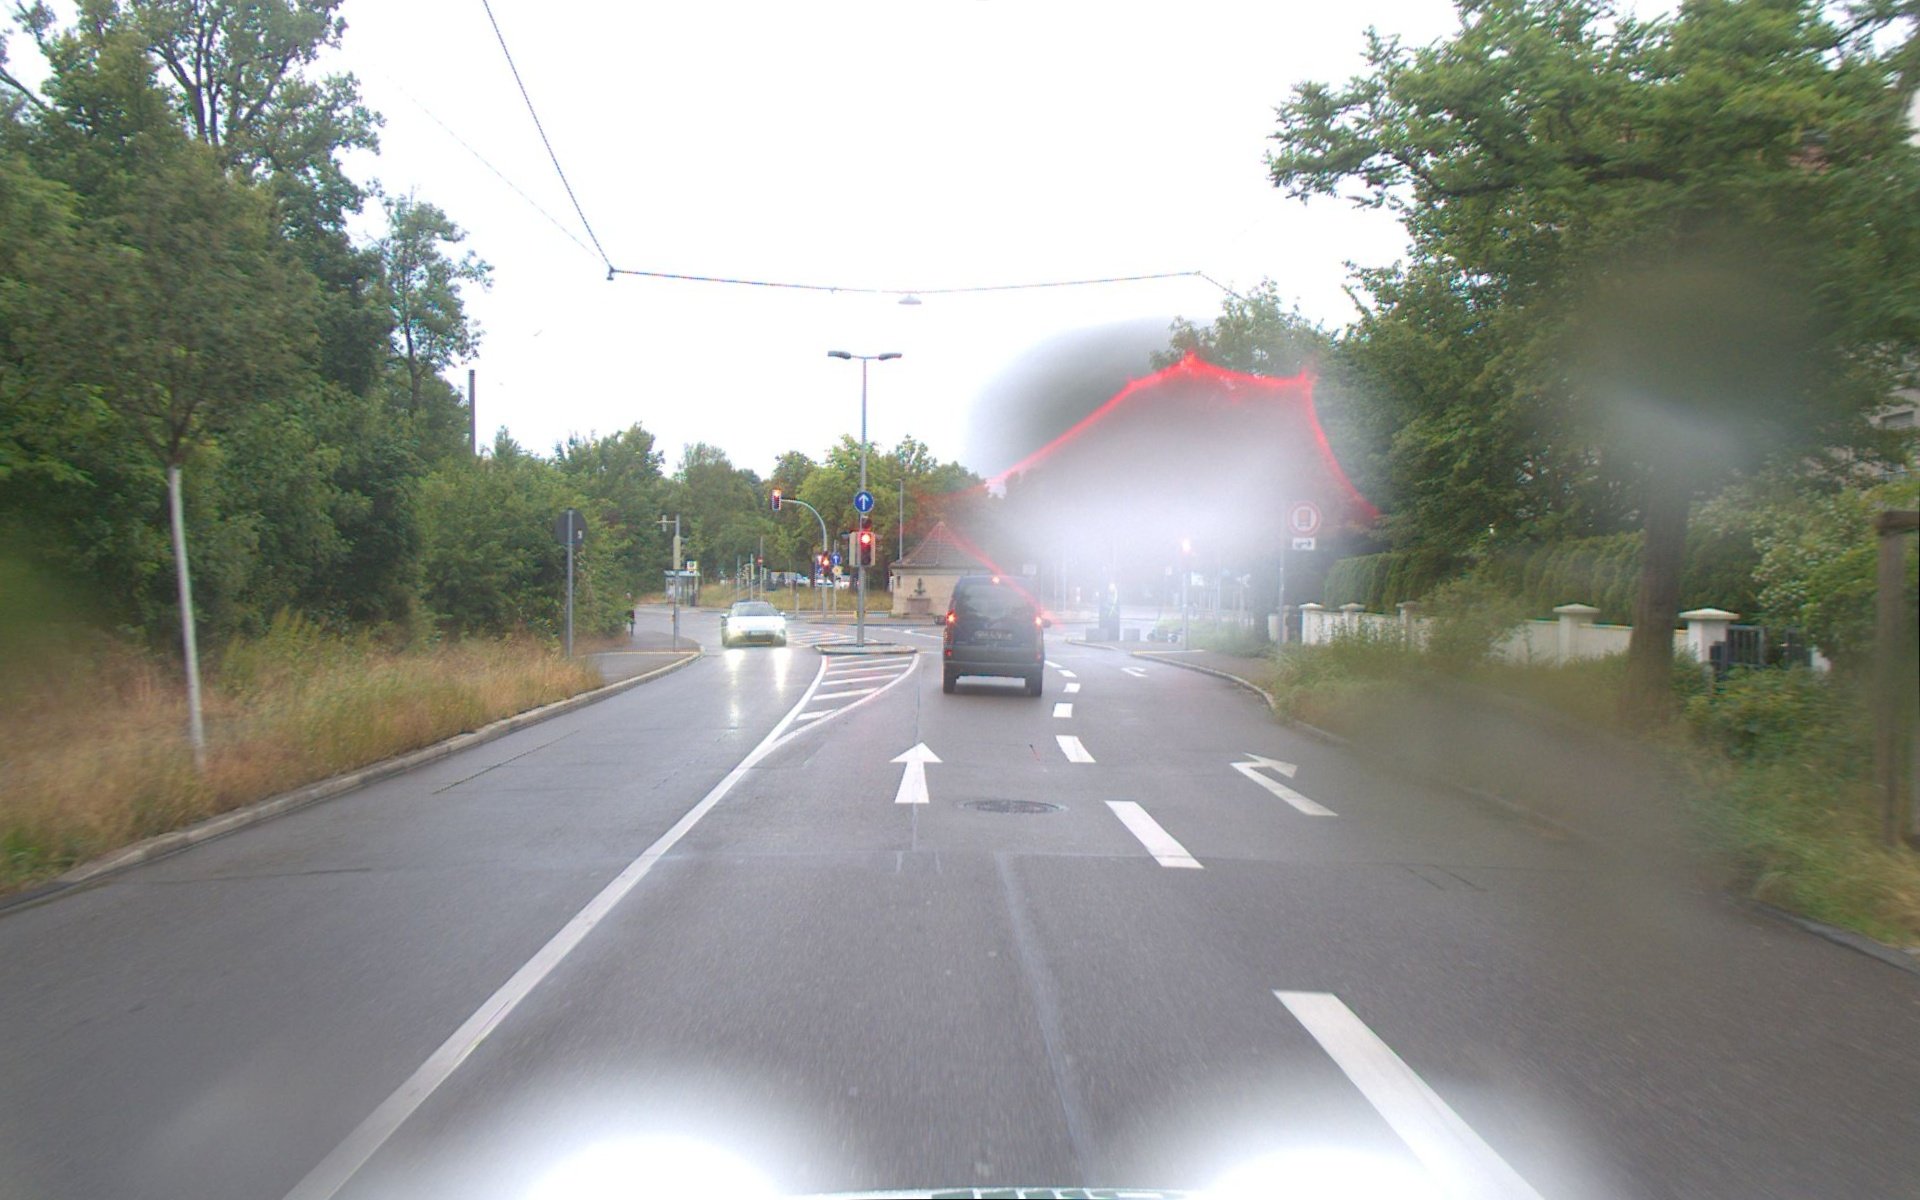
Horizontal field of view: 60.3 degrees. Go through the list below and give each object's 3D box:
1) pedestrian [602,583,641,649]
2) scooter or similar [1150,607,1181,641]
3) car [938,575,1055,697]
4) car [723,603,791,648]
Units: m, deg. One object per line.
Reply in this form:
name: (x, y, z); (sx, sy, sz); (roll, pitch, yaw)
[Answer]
pedestrian: (-10.767, 0.523, 52.627); (1.066, 2.049, 0.999); (1, -1, -5)
scooter or similar: (7.634, 0.900, 61.468); (1.125, 1.240, 0.406); (1, -1, -1)
car: (0.532, 0.547, 27.354); (1.696, 1.817, 3.999); (1, 0, -2)
car: (-6.657, 0.802, 53.940); (1.957, 1.334, 4.349); (-2, 1, -10)
